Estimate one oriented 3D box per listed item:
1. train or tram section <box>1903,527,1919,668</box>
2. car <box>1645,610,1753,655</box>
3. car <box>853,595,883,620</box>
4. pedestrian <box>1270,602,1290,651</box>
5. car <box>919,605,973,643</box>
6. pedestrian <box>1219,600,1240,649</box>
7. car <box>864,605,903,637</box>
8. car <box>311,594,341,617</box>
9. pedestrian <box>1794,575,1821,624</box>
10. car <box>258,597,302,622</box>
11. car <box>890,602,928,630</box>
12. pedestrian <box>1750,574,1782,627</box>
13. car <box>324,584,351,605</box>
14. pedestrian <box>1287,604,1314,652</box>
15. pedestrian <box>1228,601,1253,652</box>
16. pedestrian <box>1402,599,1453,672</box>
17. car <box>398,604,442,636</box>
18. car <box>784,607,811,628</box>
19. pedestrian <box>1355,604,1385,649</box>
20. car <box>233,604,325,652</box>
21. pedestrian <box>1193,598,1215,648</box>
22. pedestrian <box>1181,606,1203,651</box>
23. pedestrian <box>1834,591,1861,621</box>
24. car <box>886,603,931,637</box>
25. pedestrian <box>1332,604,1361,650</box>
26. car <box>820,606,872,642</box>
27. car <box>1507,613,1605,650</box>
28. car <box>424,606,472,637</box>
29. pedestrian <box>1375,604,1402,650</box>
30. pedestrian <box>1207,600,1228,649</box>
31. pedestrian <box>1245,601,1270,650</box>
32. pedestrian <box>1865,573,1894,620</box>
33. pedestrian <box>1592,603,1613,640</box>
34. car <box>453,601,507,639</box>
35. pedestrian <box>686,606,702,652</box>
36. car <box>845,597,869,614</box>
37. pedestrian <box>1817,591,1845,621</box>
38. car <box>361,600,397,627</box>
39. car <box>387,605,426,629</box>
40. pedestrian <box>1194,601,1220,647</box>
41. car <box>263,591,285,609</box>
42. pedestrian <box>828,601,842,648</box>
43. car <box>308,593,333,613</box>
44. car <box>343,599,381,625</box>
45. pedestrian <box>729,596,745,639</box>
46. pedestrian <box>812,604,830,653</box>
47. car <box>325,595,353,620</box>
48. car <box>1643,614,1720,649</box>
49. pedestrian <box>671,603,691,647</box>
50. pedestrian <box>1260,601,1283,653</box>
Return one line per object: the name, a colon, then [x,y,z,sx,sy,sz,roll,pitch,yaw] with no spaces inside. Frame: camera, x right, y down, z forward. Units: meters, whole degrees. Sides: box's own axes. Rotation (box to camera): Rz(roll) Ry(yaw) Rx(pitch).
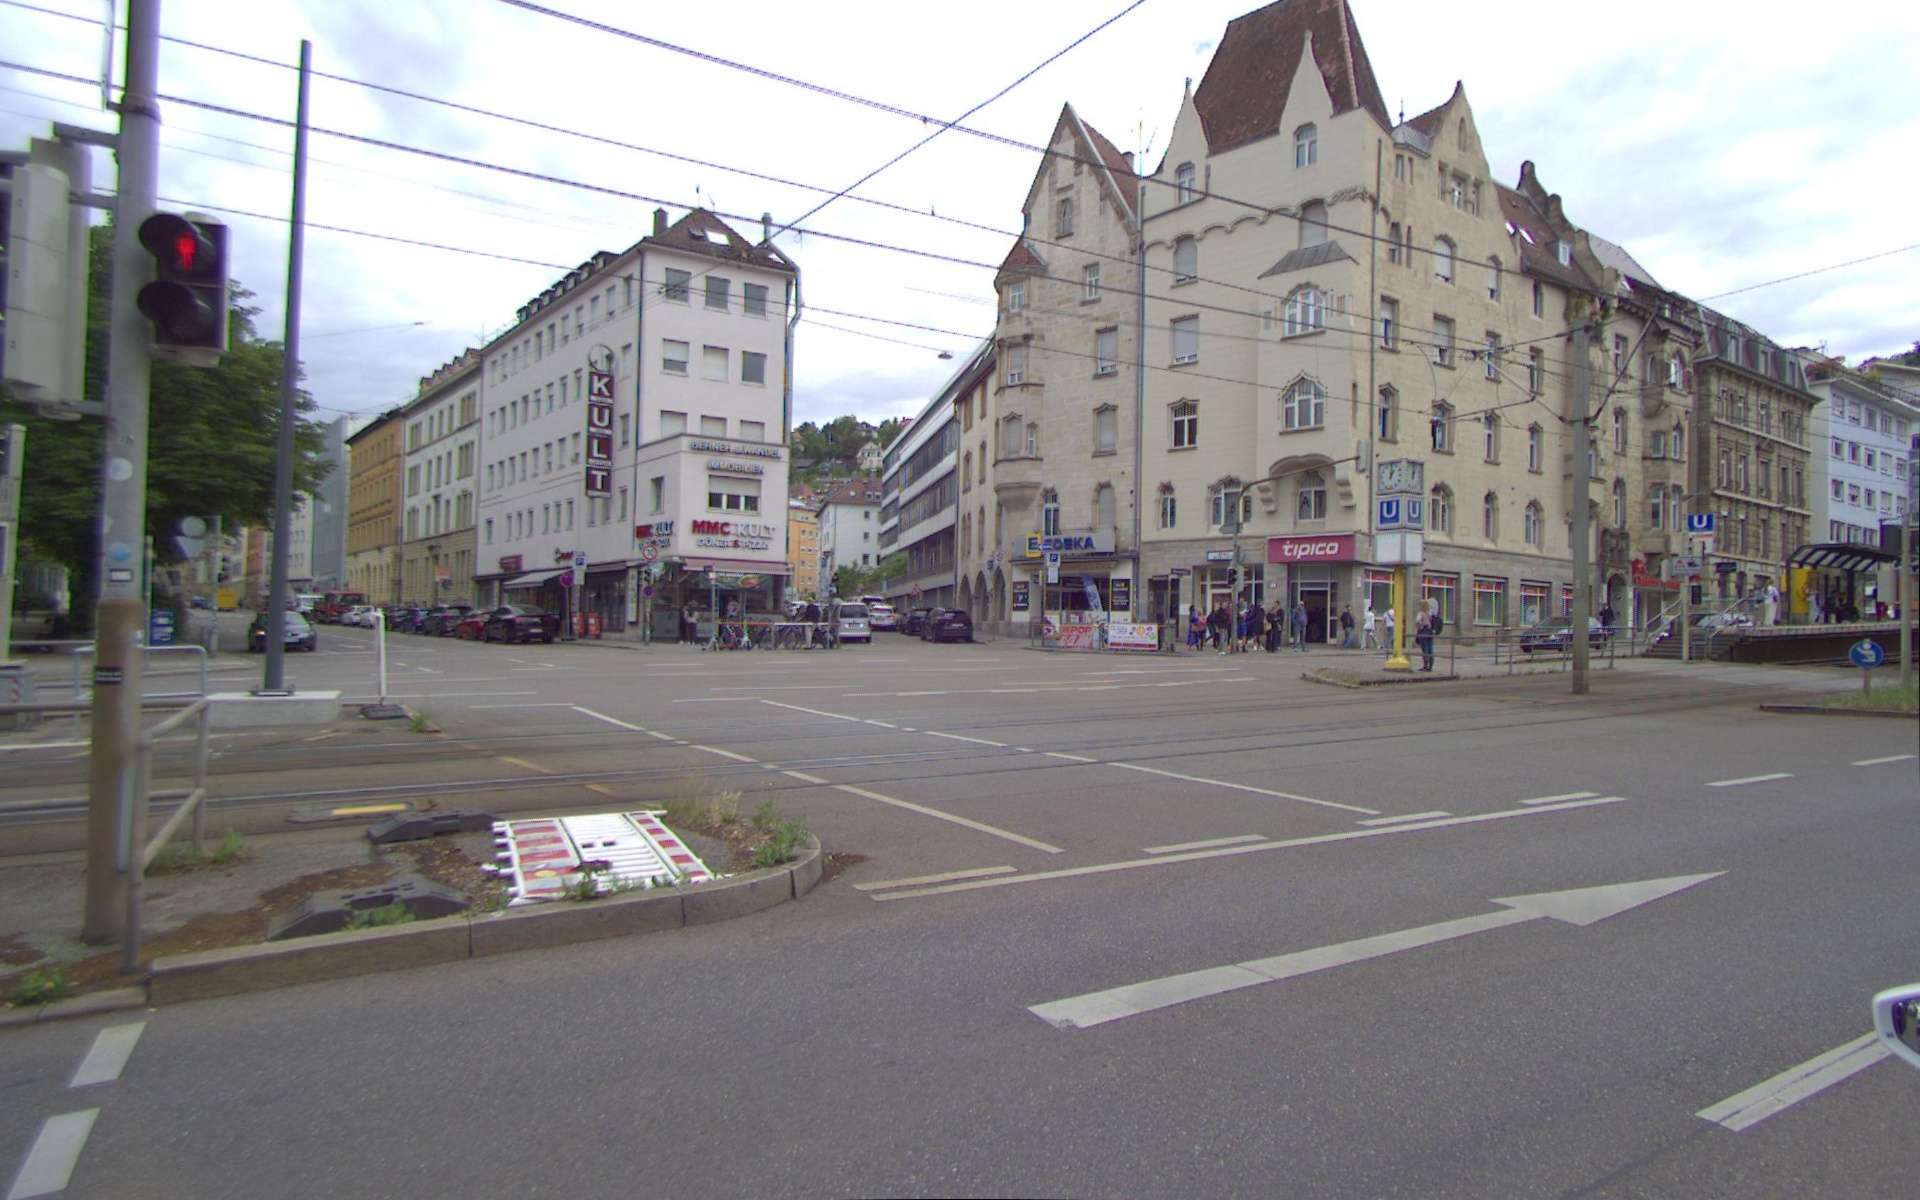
train or tram section: [28.266,-0.037,27.019,5.687,3.728,2.820,0,1,-32]
car: [28.213,1.231,38.339,3.953,1.595,1.898,1,0,-31]
car: [-6.988,0.615,75.887,1.610,1.768,3.772,0,-2,-16]
pedestrian: [11.780,0.980,37.000,0.565,1.803,0.511,1,0,-1]
car: [-0.714,1.177,47.890,1.611,1.706,3.770,0,-2,-17]
pedestrian: [10.044,0.898,37.429,0.570,1.803,0.507,1,0,-30]
car: [-4.532,1.282,58.915,2.017,1.768,4.664,0,-2,-7]
car: [-48.934,0.452,77.485,1.635,1.734,3.611,1,-1,-37]
pedestrian: [30.201,-0.016,35.786,0.684,1.734,0.630,0,0,-41]
car: [-48.883,0.685,72.201,1.912,1.734,4.435,1,-1,-44]
car: [-3.401,1.084,66.091,1.611,1.768,3.770,0,-2,-17]
pedestrian: [26.889,0.020,33.510,0.654,1.734,0.684,0,0,-33]
car: [-52.030,-0.448,83.923,1.635,1.734,3.611,1,-1,-37]
pedestrian: [12.369,1.015,36.514,0.679,1.699,0.673,1,0,-14]
pedestrian: [9.942,0.935,35.617,0.586,1.803,0.709,1,0,-16]
pedestrian: [11.288,0.850,24.265,0.796,1.728,0.877,1,0,-3]
car: [-30.533,1.101,56.741,1.635,1.734,3.611,1,-1,-37]
car: [-12.904,1.403,79.636,1.611,1.599,3.769,0,-1,-17]
pedestrian: [15.902,1.023,38.973,0.714,1.728,0.779,1,0,-26]
car: [-24.737,0.980,36.430,3.944,1.550,1.940,1,0,43]
pedestrian: [8.946,0.836,36.813,0.505,1.803,0.573,1,0,-27]
pedestrian: [8.447,1.040,36.550,0.505,1.603,0.572,1,0,-29]
pedestrian: [33.951,0.221,38.425,0.682,1.122,0.632,0,0,-32]
car: [-2.850,1.140,54.883,1.611,1.768,3.770,0,-2,-17]
pedestrian: [14.607,1.014,37.968,0.645,1.728,0.779,1,0,-26]
car: [-5.391,1.155,47.142,1.725,1.581,4.500,1,-2,-15]
car: [23.522,1.240,39.618,3.735,1.393,1.626,1,-2,-28]
car: [-26.682,1.119,52.277,1.635,1.553,3.611,1,-1,-37]
pedestrian: [16.315,1.039,38.251,0.700,1.728,0.601,1,0,-26]
pedestrian: [9.517,0.910,37.115,0.569,1.803,0.508,1,0,-25]
pedestrian: [11.101,0.935,37.482,0.654,1.803,0.790,1,0,-1]
pedestrian: [35.122,-0.134,38.366,0.837,1.786,0.624,1,0,-31]
pedestrian: [31.355,1.026,49.032,0.616,1.786,0.847,0,0,16]
car: [-23.071,0.932,48.240,1.635,1.734,3.611,1,-1,-37]
pedestrian: [-10.617,1.152,40.114,0.568,1.803,0.509,1,0,-20]
car: [-9.916,0.547,96.914,1.611,1.599,3.769,0,-1,-17]
pedestrian: [32.600,0.216,37.593,0.682,1.122,0.632,0,0,-32]
car: [-38.164,0.883,65.929,1.635,1.734,3.611,1,-1,-37]
car: [-34.041,1.018,61.721,1.635,1.463,3.611,1,-1,-37]
pedestrian: [9.737,0.956,39.570,0.808,1.803,0.574,1,0,-22]
car: [-69.738,-0.004,102.107,1.635,1.734,3.611,1,-1,-37]
pedestrian: [-4.828,0.954,38.766,0.502,1.803,0.576,1,0,-5]
car: [-58.209,0.289,91.428,1.635,1.734,3.611,1,-1,-37]
car: [-41.382,0.845,69.493,1.638,1.734,3.605,1,-1,-42]
pedestrian: [-9.382,0.738,42.336,0.589,1.803,0.509,1,0,-20]
pedestrian: [-5.133,1.049,37.078,0.568,1.803,0.509,1,0,-20]
car: [-45.309,0.593,73.261,1.377,1.763,3.612,1,-2,-37]
car: [33.074,1.437,46.041,3.558,1.544,1.551,1,0,-31]
pedestrian: [-11.224,1.008,40.374,0.645,1.728,0.779,1,0,-26]
pedestrian: [11.002,0.949,35.513,0.568,1.803,0.509,1,0,-17]
